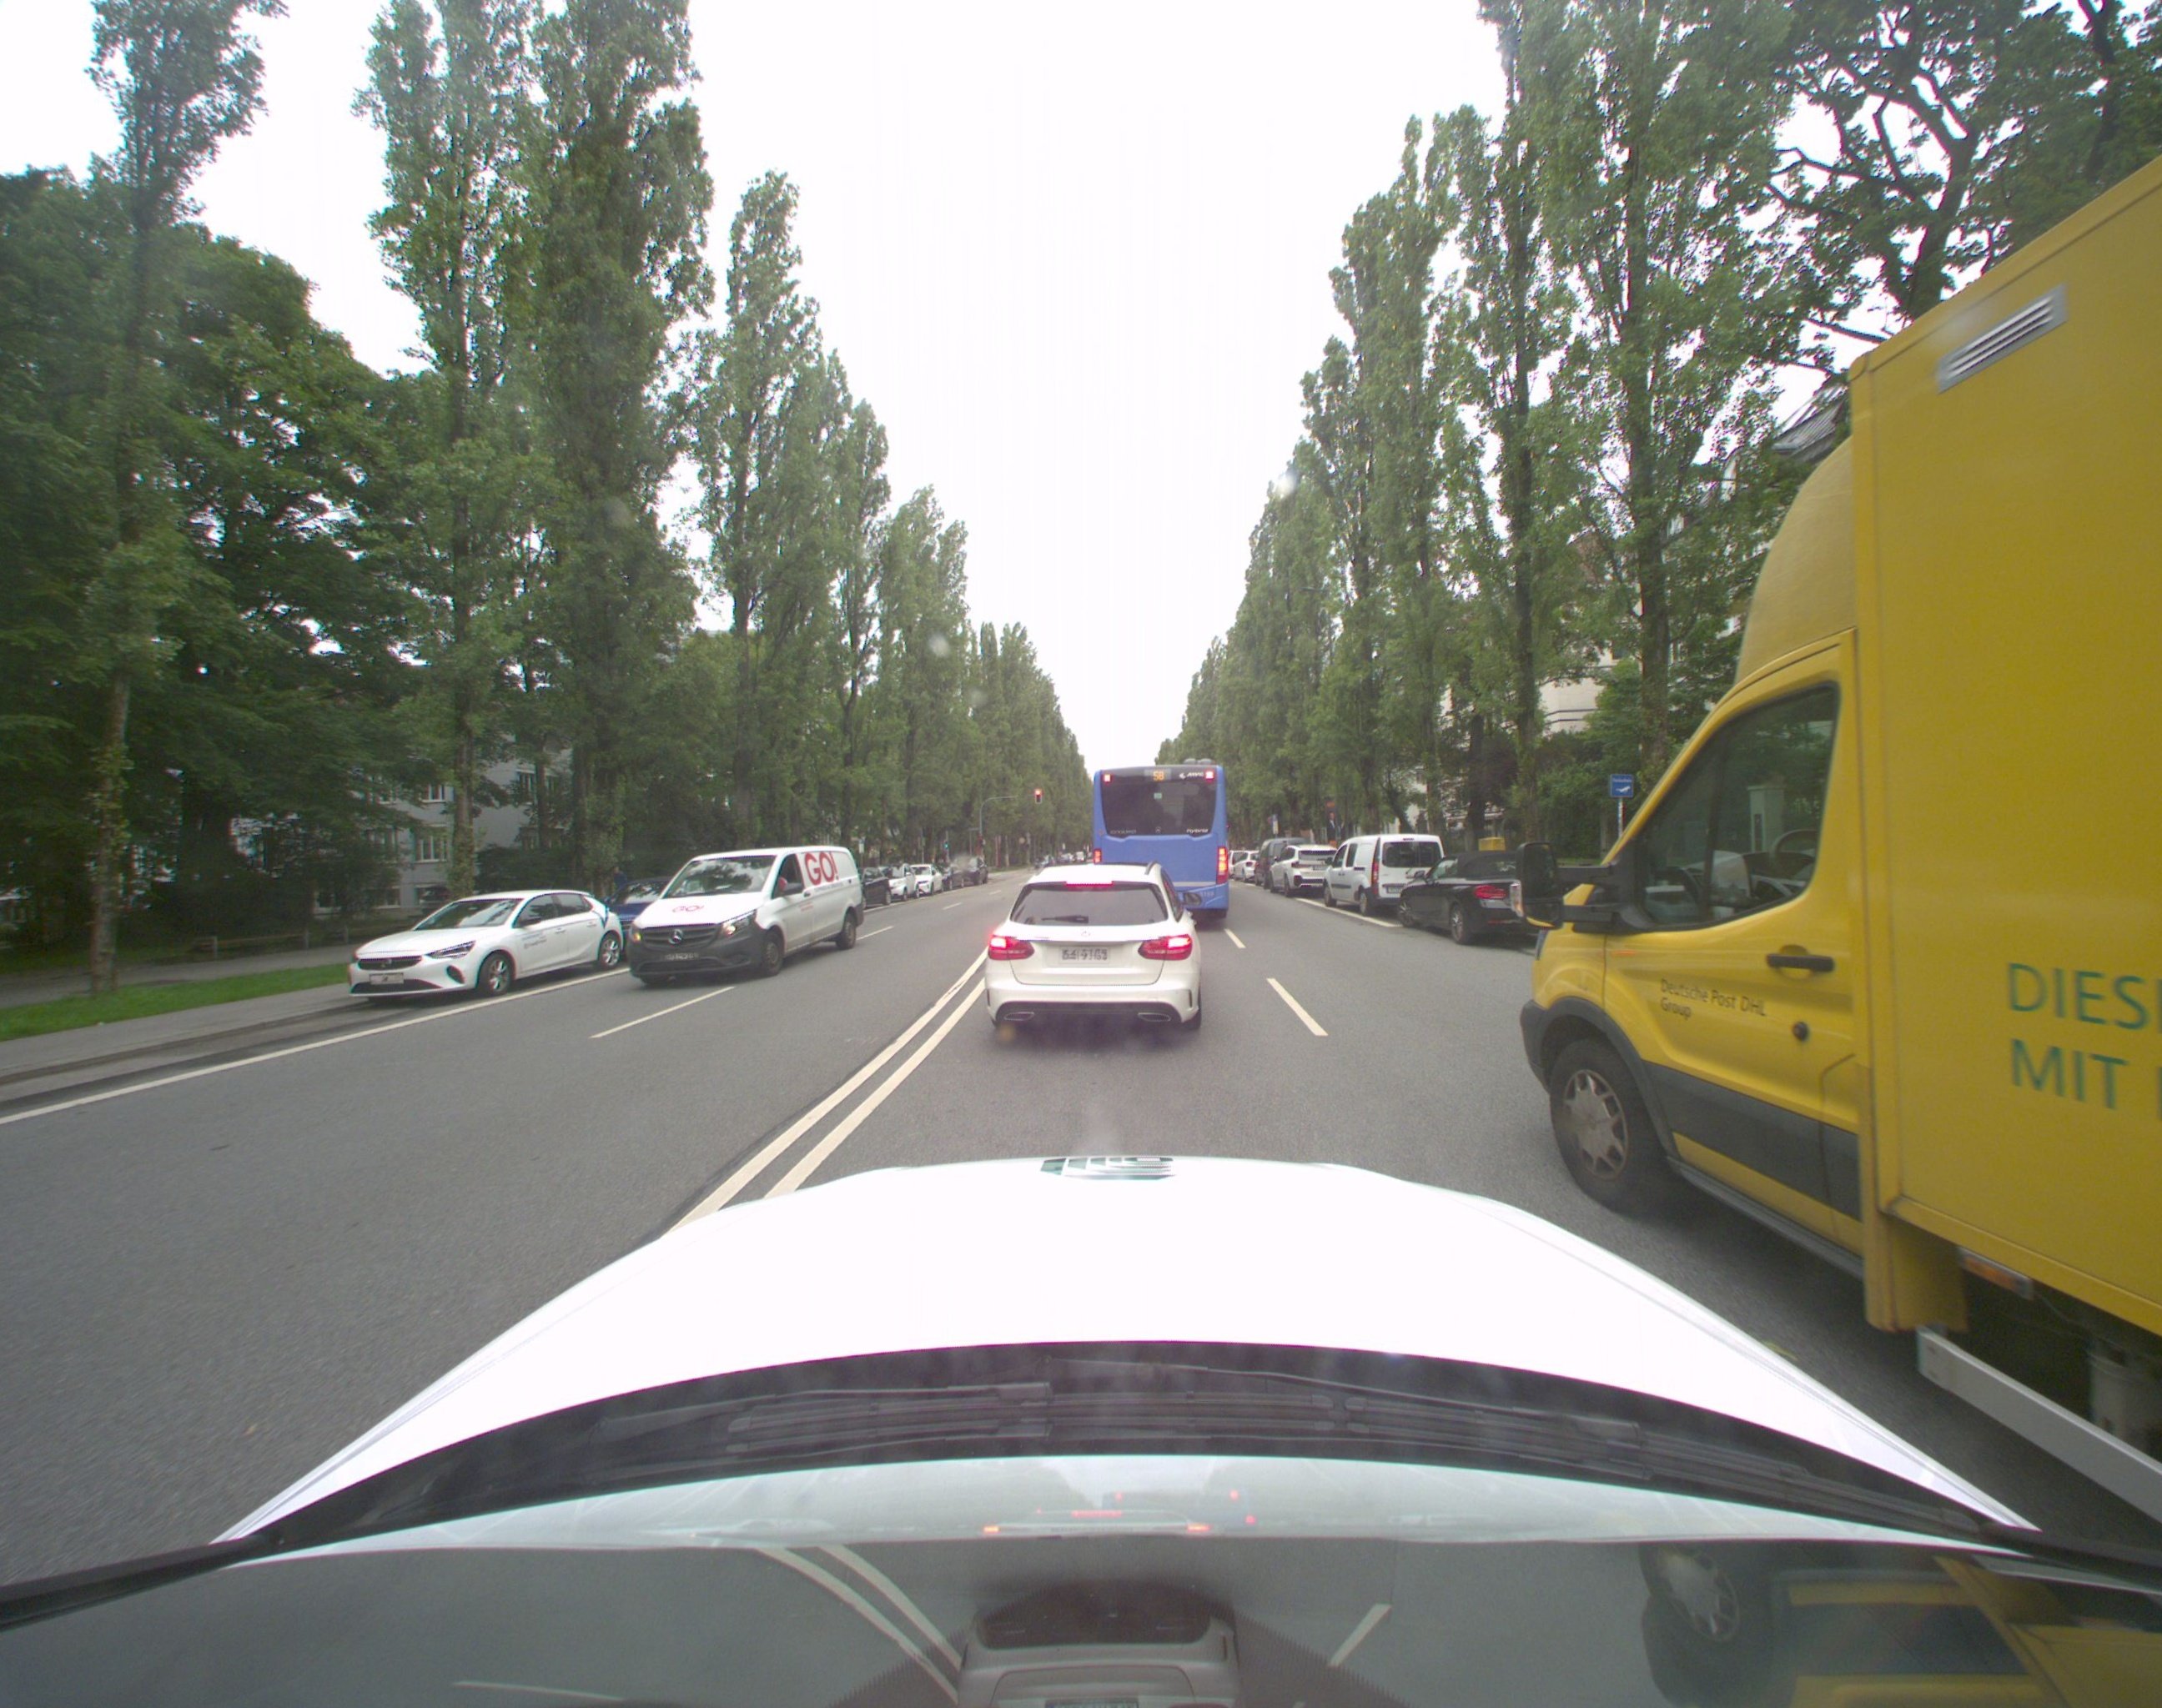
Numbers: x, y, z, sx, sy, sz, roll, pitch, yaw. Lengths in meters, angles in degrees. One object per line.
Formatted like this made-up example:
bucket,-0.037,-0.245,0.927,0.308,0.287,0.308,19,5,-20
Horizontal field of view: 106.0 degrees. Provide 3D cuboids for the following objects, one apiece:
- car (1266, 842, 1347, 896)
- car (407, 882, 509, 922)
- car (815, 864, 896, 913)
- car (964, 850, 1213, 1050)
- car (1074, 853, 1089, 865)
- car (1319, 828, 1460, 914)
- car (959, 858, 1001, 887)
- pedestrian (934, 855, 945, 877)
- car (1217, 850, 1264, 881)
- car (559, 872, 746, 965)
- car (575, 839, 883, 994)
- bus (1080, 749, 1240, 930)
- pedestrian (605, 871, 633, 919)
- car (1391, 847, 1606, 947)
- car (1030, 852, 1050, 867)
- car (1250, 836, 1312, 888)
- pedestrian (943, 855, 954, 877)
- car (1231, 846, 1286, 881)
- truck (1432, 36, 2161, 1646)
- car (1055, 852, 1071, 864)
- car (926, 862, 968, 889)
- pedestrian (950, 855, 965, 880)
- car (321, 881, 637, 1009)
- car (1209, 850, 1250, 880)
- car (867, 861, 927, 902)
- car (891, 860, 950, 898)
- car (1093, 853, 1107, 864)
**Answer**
car,7.122,0.425,26.067,1.670,1.596,4.091,0,0,3
car,-31.143,2.364,40.918,1.990,1.684,4.260,-2,0,-4
car,-7.887,1.162,28.803,1.533,1.433,3.871,-5,0,2
car,0.266,0.710,8.268,1.817,1.454,4.589,-1,0,5
car,0.054,0.682,111.511,1.814,1.486,4.003,-2,0,3
car,6.978,0.354,18.916,1.826,1.773,4.232,0,0,2
car,-5.953,1.056,48.587,1.700,1.552,4.004,-2,0,4
pedestrian,-13.450,1.157,77.182,0.827,2.013,0.778,-2,0,1
car,8.333,0.544,42.771,1.778,1.492,4.002,-2,0,2
car,-8.667,1.220,16.935,1.739,1.518,4.114,-4,0,-2
car,-5.294,0.814,13.453,2.173,1.891,5.702,-4,0,4
bus,2.161,-0.274,19.328,2.838,3.213,9.083,-1,0,9
pedestrian,-17.252,1.526,30.409,0.597,1.739,0.641,-2,0,3
car,6.608,0.599,13.419,1.738,1.354,4.005,-1,0,4
car,-4.471,0.588,89.771,1.814,1.486,4.003,-2,0,3
car,7.635,0.280,31.353,1.695,1.836,4.005,-1,0,5
pedestrian,-12.558,1.135,77.306,0.827,2.013,0.778,-2,0,1
car,8.124,0.407,37.628,1.791,1.475,4.002,-2,0,2
truck,3.087,-0.025,0.979,2.319,2.898,7.336,-2,0,2
car,-2.386,0.557,109.126,1.814,1.486,4.003,-2,0,3
car,-7.054,1.124,43.089,1.283,1.273,3.853,-2,0,4
pedestrian,-8.752,0.951,57.618,0.819,1.764,1.081,-2,0,1
car,-8.878,1.243,12.519,1.678,1.413,4.007,-4,0,2
car,8.677,0.594,47.927,1.802,1.618,4.002,-2,0,2
car,-7.520,1.093,33.564,1.403,1.552,3.448,-2,0,4
car,-7.300,1.102,37.427,1.701,1.548,4.002,-3,0,2
car,2.846,0.638,123.702,1.985,1.619,4.003,-2,0,3
